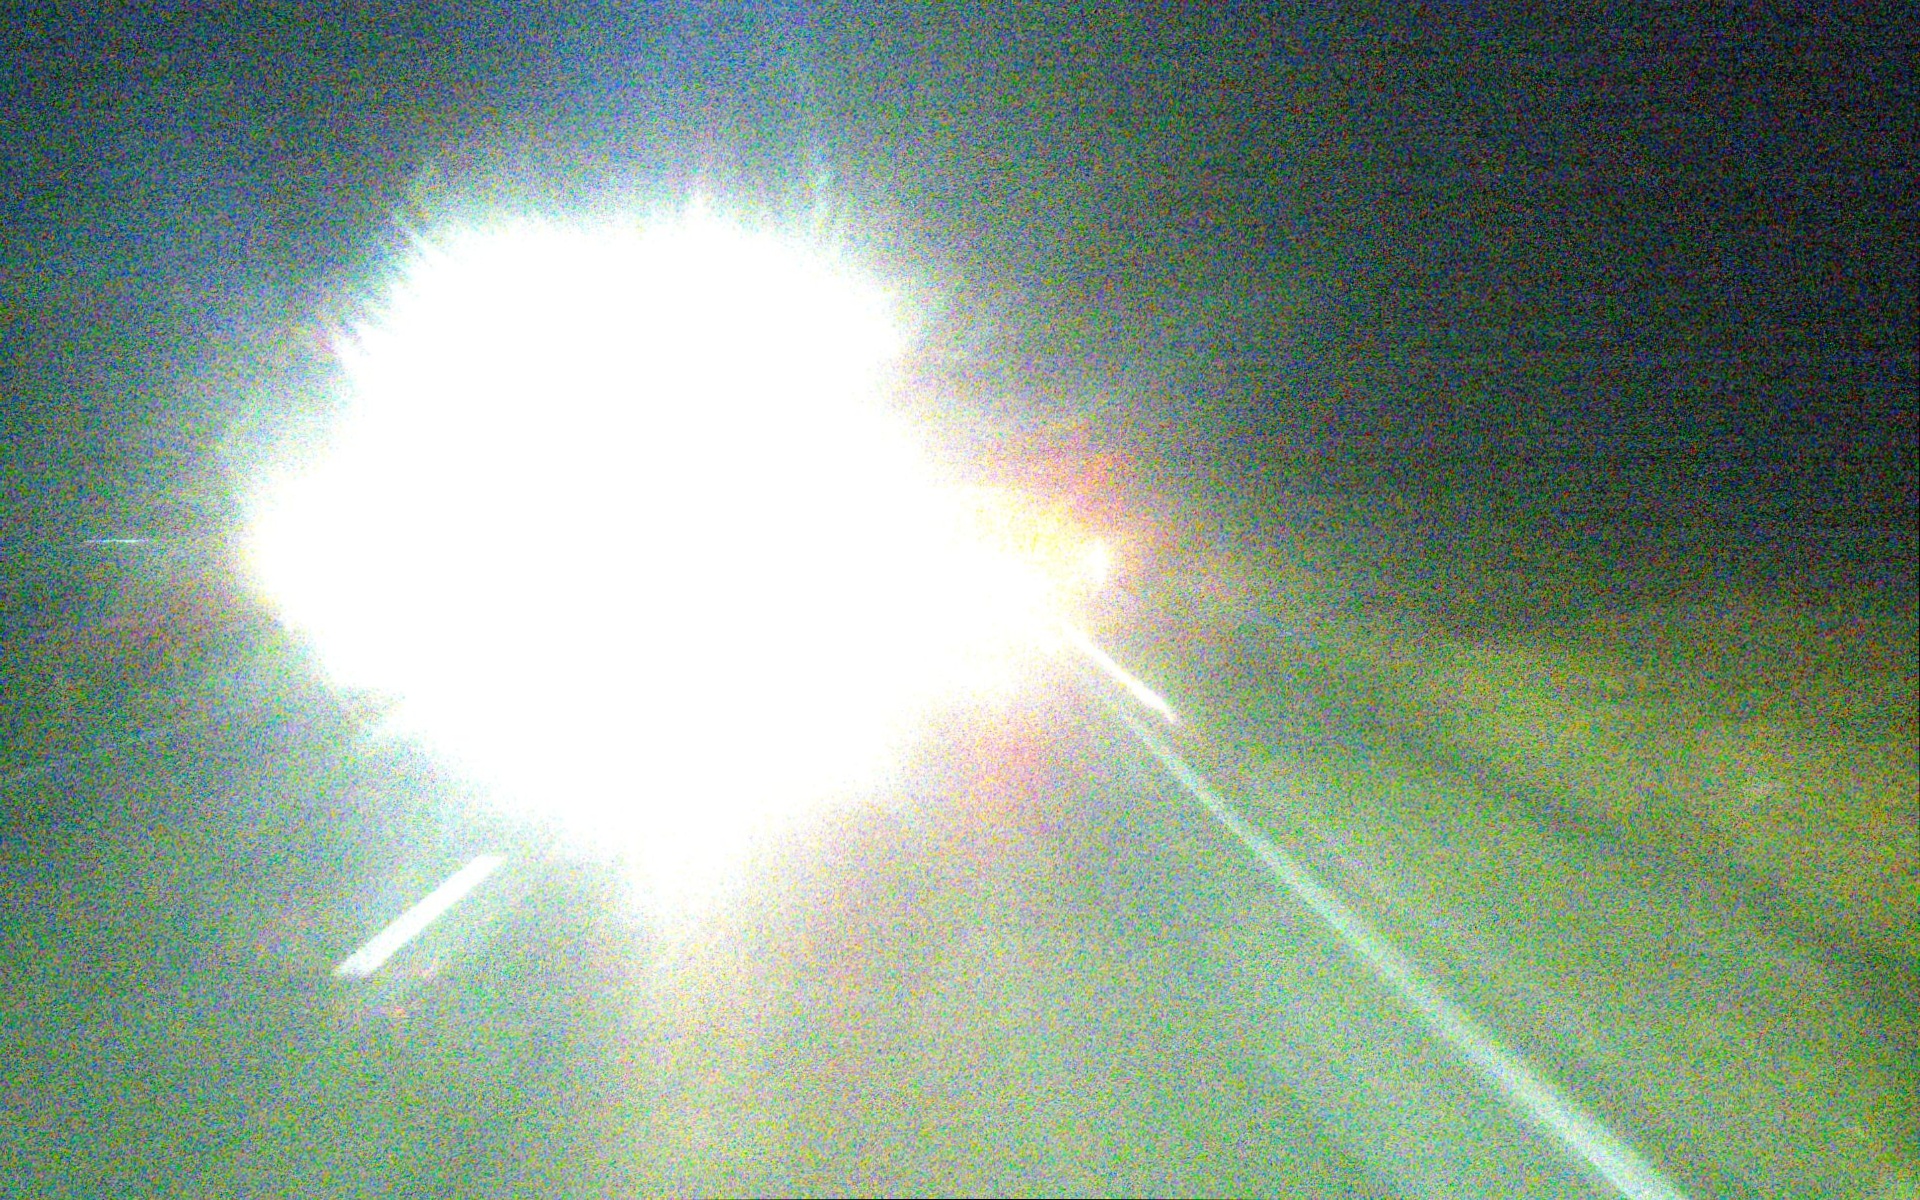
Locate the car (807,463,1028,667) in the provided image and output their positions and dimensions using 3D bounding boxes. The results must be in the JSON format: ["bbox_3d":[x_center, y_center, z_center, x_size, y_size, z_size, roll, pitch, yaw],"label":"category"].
[{"bbox_3d":[-0.384,-0.395,33.081,1.993,1.800,3.918,0,3,0],"label":"car"}]
